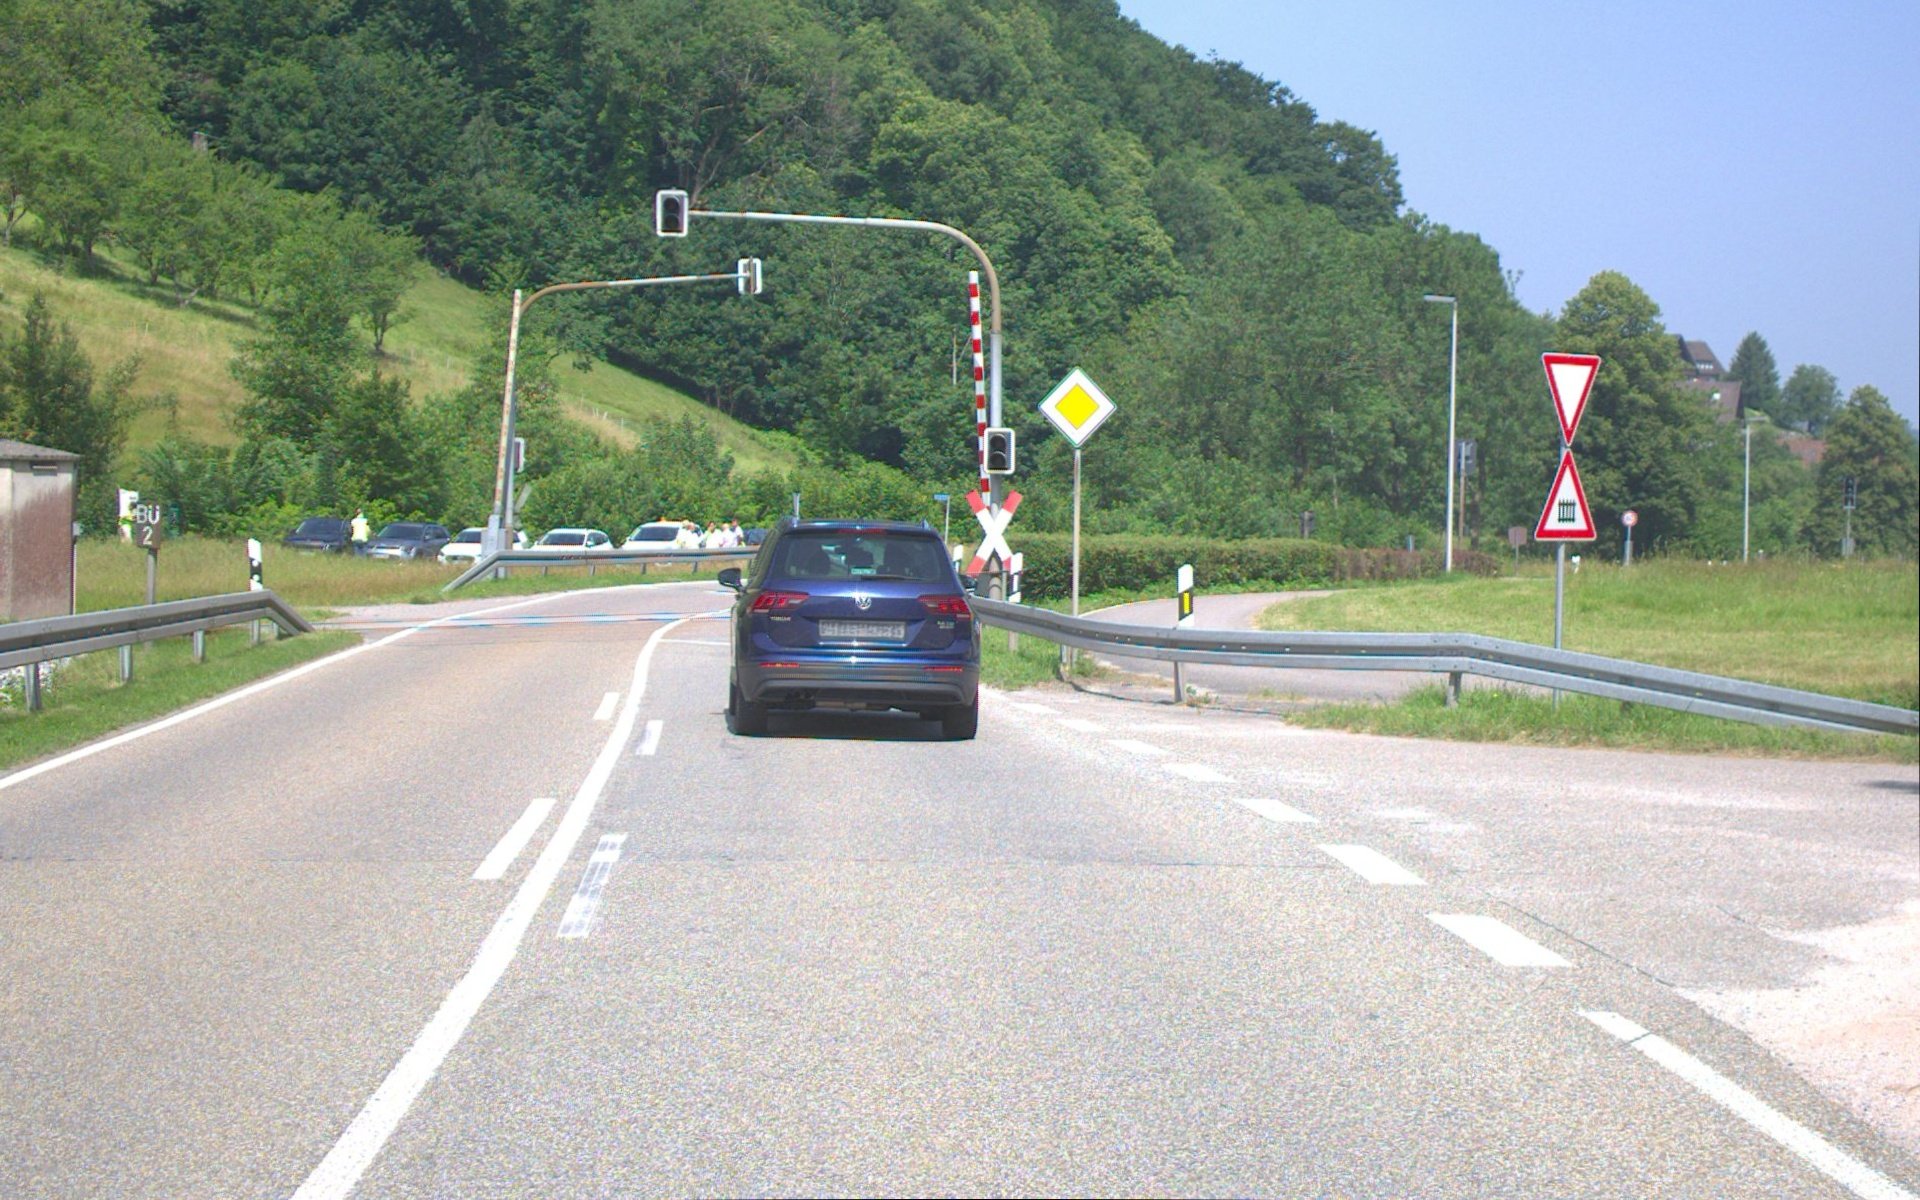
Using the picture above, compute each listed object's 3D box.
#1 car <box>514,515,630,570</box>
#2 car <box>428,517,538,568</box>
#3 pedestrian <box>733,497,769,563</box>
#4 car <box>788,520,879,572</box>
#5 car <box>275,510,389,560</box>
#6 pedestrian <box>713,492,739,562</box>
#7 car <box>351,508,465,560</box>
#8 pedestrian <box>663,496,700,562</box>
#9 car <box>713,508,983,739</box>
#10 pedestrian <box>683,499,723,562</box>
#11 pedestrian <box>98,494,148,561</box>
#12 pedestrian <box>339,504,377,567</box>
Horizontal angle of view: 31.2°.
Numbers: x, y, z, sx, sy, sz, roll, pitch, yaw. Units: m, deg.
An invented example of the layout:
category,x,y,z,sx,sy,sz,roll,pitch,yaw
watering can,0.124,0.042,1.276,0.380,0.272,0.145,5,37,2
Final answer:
category,x,y,z,sx,sy,sz,roll,pitch,yaw
car,-11.714,-1.741,104.115,1.994,1.635,4.899,0,1,12
car,-14.421,-1.739,104.228,1.994,1.495,4.520,0,1,10
pedestrian,-5.898,-1.976,96.922,0.769,1.852,0.649,-1,1,-44
car,-3.720,-1.588,101.483,1.827,1.495,4.276,0,1,10
car,-19.254,-1.977,105.656,1.994,1.495,4.520,0,1,10
pedestrian,-6.540,-2.034,96.284,0.660,1.948,0.533,0,1,3
car,-16.825,-2.010,105.035,1.994,1.495,4.520,3,1,10
pedestrian,-7.792,-1.979,96.054,0.789,1.836,0.698,0,1,23
car,-0.947,0.142,26.651,1.852,1.643,4.141,0,1,-5
pedestrian,-7.243,-1.956,96.871,0.770,1.790,0.792,0,1,39
pedestrian,-24.637,-2.136,101.159,1.127,1.962,0.860,0,1,28
pedestrian,-17.268,-1.854,98.589,0.954,1.788,1.000,0,1,-2
